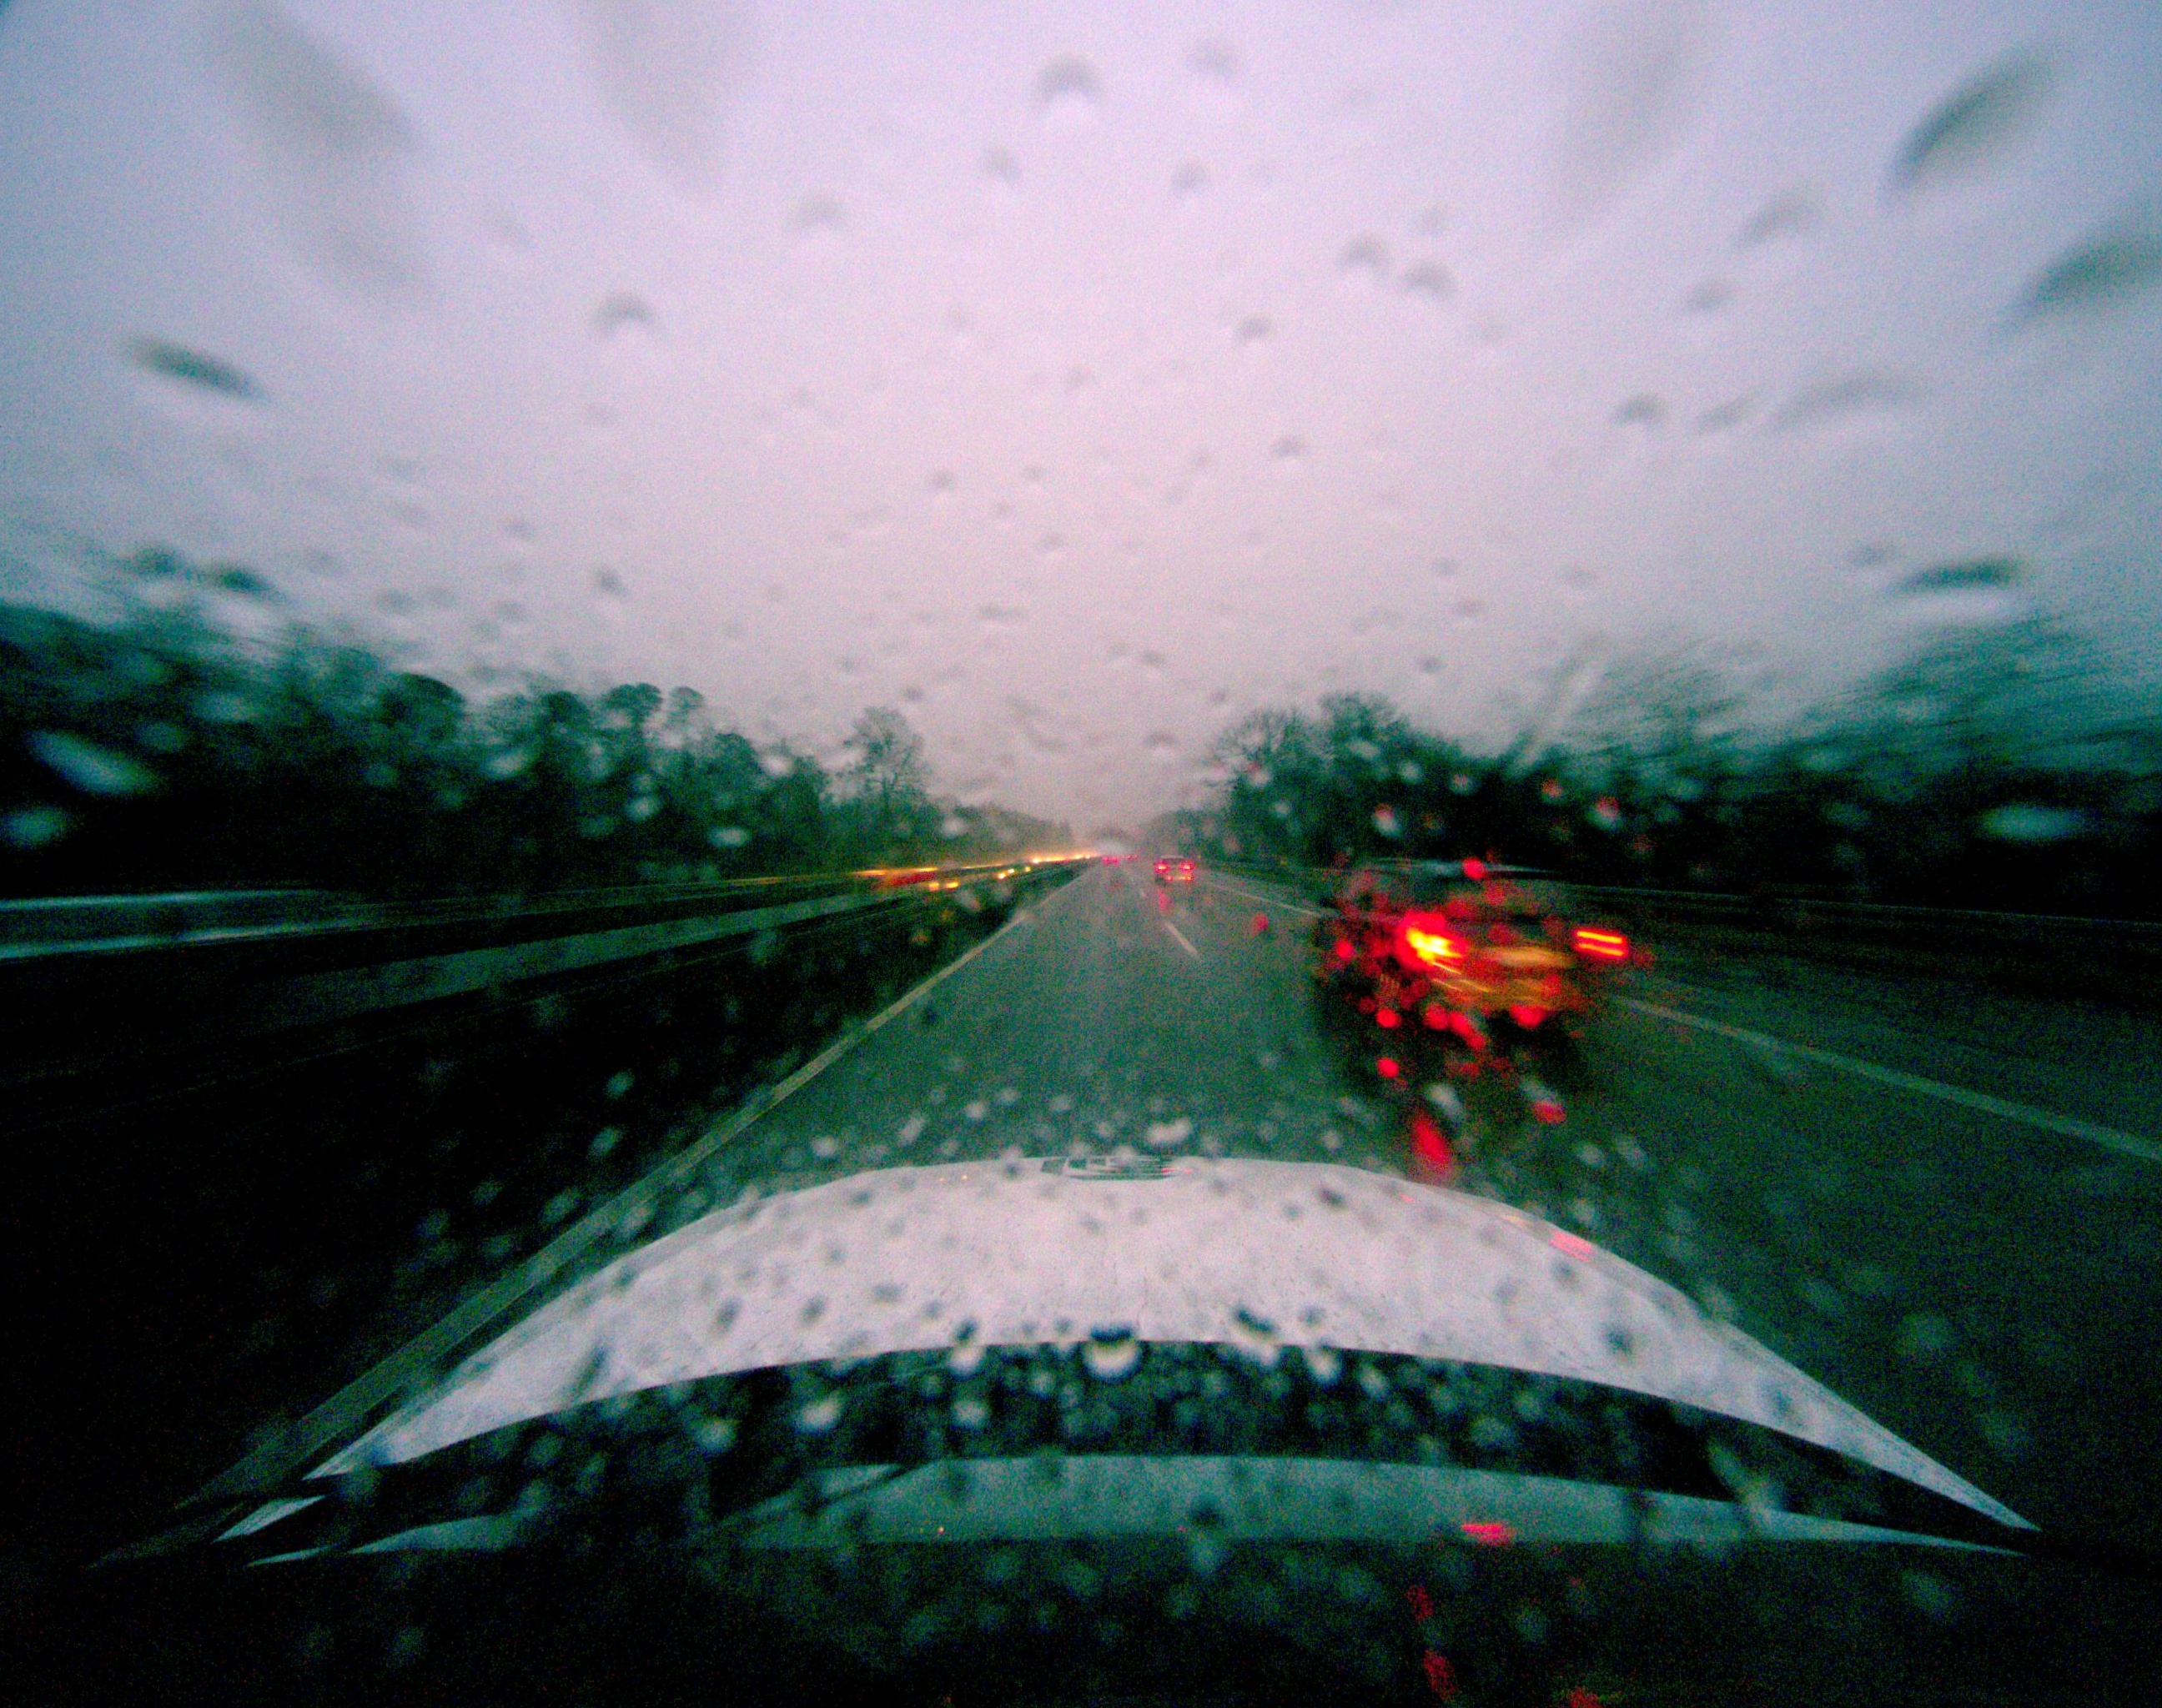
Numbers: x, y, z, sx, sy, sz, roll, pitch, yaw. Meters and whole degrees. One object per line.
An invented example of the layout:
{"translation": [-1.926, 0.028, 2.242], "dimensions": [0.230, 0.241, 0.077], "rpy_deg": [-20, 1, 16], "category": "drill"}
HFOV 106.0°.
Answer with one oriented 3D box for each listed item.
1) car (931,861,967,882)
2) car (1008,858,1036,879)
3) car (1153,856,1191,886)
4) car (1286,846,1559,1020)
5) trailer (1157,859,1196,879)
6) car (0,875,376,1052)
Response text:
{"translation": [-9.638, 1.241, 59.645], "dimensions": [1.749, 1.407, 4.411], "rpy_deg": [-1, 0, 2], "category": "car"}
{"translation": [-4.946, 1.177, 68.616], "dimensions": [1.692, 1.506, 4.411], "rpy_deg": [-7, 0, 2], "category": "car"}
{"translation": [4.959, 0.895, 44.767], "dimensions": [1.779, 1.516, 3.813], "rpy_deg": [-3, 0, 2], "category": "car"}
{"translation": [3.449, 0.696, 8.960], "dimensions": [1.588, 1.491, 3.596], "rpy_deg": [-1, 0, 2], "category": "car"}
{"translation": [4.823, 0.739, 41.391], "dimensions": [1.741, 0.925, 2.952], "rpy_deg": [-3, 0, 2], "category": "trailer"}
{"translation": [-11.041, 1.102, 9.252], "dimensions": [1.790, 1.571, 4.755], "rpy_deg": [-1, 0, 2], "category": "car"}
